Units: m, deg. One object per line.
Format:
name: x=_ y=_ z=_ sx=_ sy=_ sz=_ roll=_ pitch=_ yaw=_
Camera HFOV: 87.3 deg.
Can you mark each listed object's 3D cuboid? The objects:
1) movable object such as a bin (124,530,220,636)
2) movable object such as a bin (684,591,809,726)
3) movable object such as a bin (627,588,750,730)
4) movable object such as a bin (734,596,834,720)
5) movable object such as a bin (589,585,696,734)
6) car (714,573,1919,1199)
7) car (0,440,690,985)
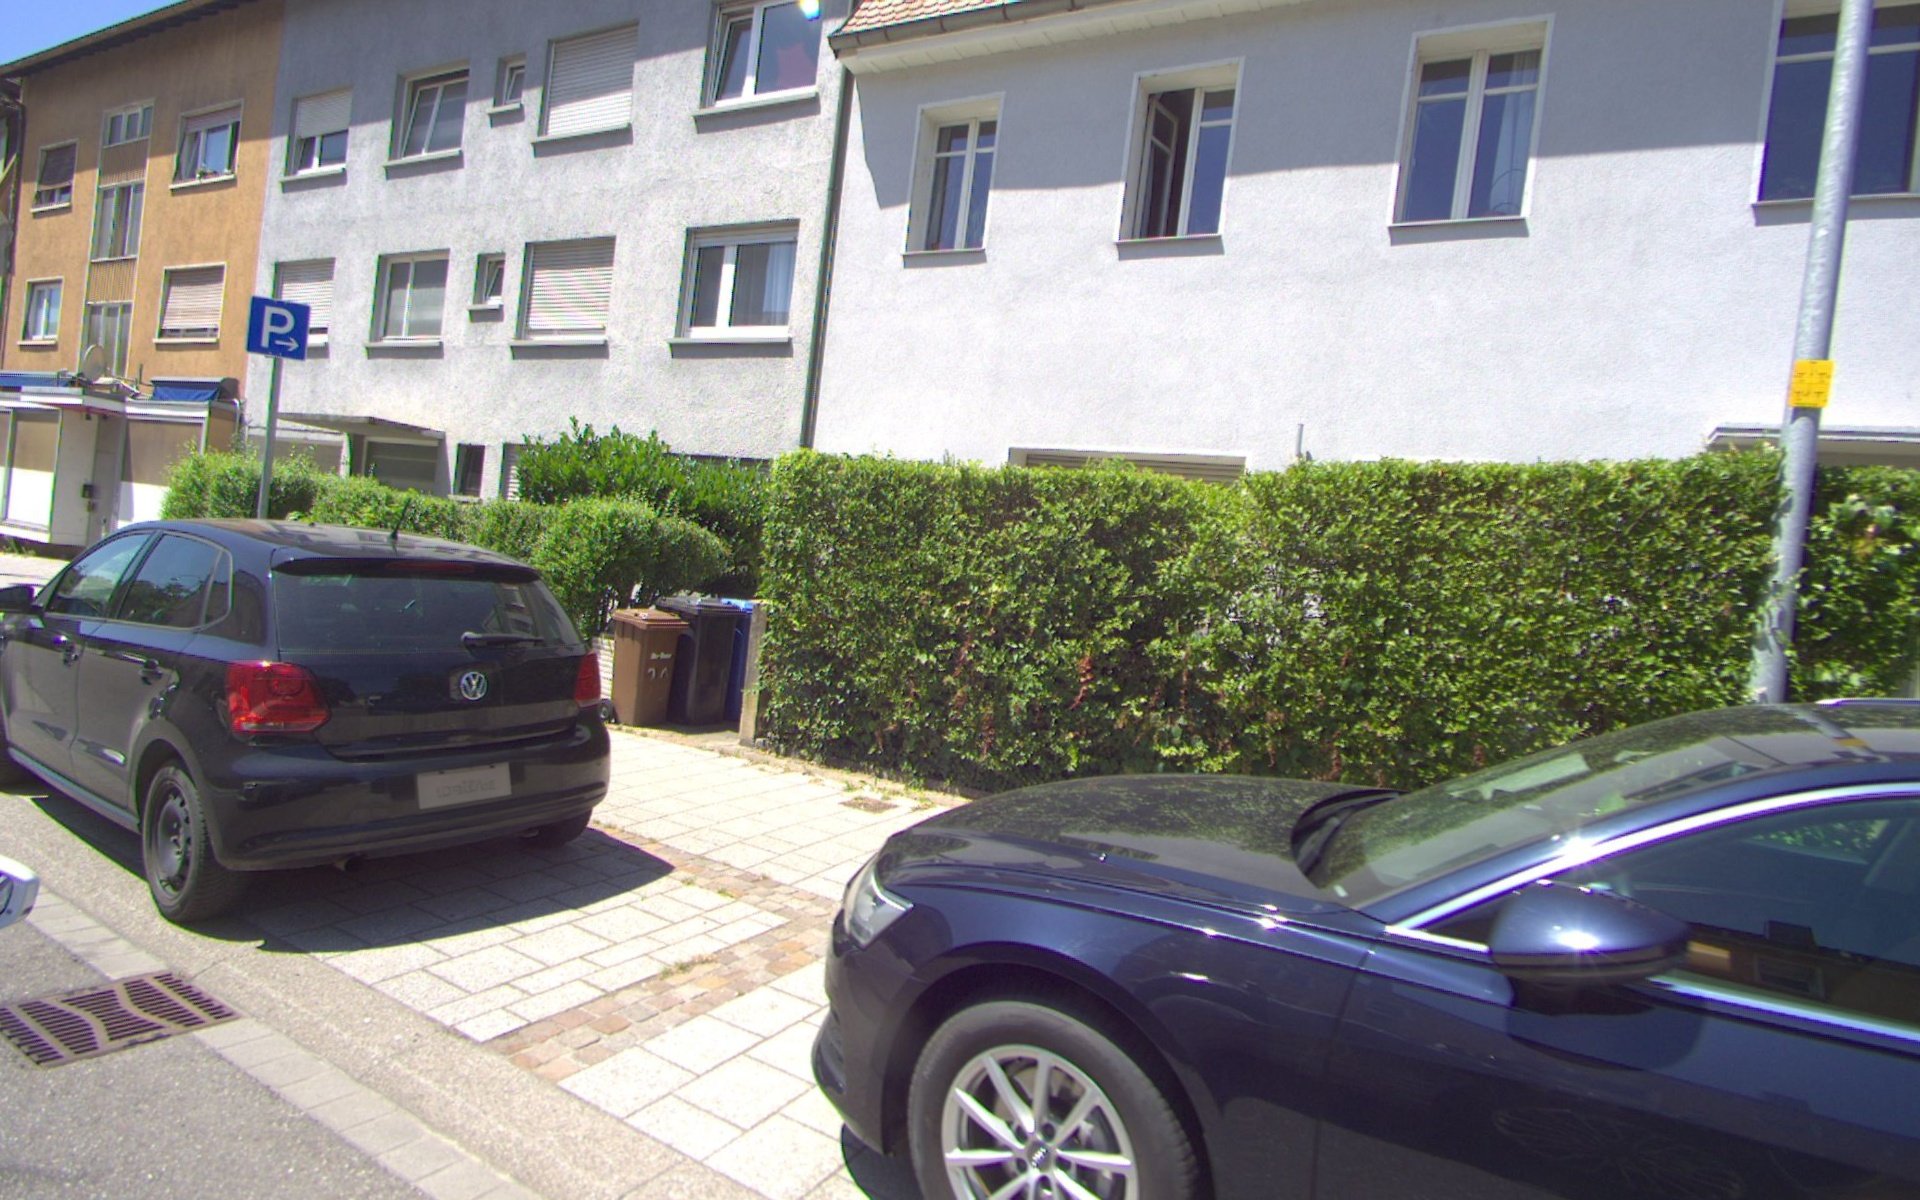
movable object such as a bin: x=-8.754 y=-0.179 z=11.178 sx=0.636 sy=1.091 sz=0.594 roll=7 pitch=2 yaw=31
movable object such as a bin: x=-1.961 y=0.532 z=9.269 sx=0.710 sy=1.123 sz=0.736 roll=7 pitch=1 yaw=32
movable object such as a bin: x=-2.340 y=0.501 z=8.674 sx=0.763 sy=1.098 sz=0.554 roll=7 pitch=1 yaw=32
movable object such as a bin: x=-1.731 y=0.570 z=9.943 sx=0.616 sy=1.123 sz=0.611 roll=7 pitch=1 yaw=32
movable object such as a bin: x=-2.589 y=0.479 z=8.214 sx=0.546 sy=1.118 sz=0.487 roll=7 pitch=1 yaw=31
car: x=1.885 y=0.933 z=2.064 sx=4.641 sy=1.495 sz=1.803 roll=7 pitch=3 yaw=31
car: x=-3.361 y=0.197 z=4.944 sx=3.937 sy=1.655 sz=1.727 roll=8 pitch=3 yaw=35
